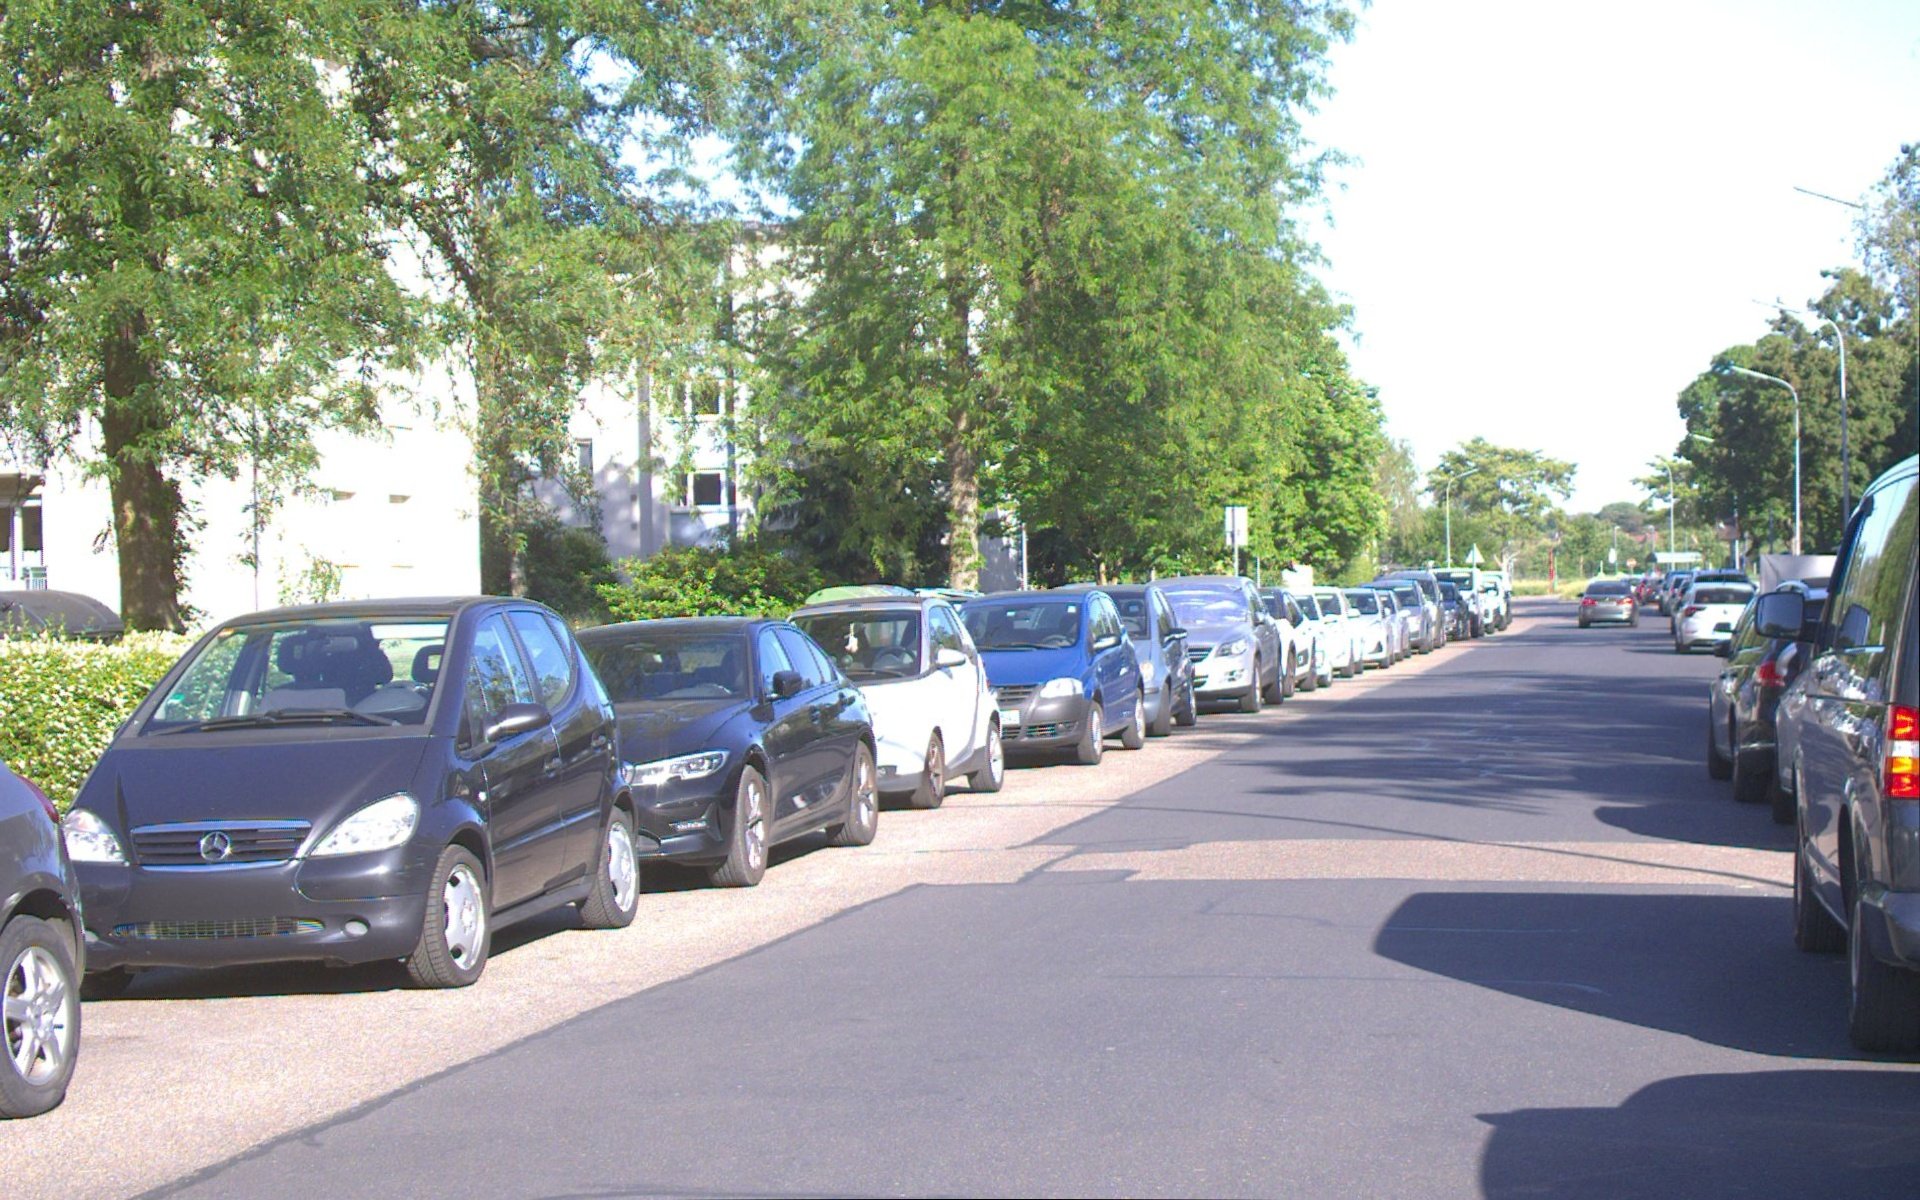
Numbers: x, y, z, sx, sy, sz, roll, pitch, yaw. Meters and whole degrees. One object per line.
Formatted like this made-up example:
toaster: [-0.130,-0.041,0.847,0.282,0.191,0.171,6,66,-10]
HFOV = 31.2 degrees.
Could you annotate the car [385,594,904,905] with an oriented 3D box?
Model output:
car: [-1.655,0.765,19.755,1.755,1.476,4.535,-3,0,10]

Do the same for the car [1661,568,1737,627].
car: [19.514,-0.077,90.926,1.909,1.525,4.326,0,0,11]

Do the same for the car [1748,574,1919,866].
car: [5.410,0.603,19.570,1.623,1.485,4.034,1,1,11]

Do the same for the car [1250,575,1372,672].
car: [5.984,0.373,58.259,1.687,1.530,3.889,-2,0,11]

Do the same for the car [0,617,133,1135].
car: [-3.903,0.858,8.958,1.755,1.476,3.957,-3,0,13]

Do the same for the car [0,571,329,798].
car: [-6.046,0.550,25.110,1.571,1.520,3.998,0,0,9]

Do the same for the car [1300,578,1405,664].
car: [7.321,0.366,63.931,1.687,1.500,3.816,-2,0,10]

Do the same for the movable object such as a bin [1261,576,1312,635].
movable object such as a bin: [8.219,0.133,86.556,1.102,1.416,1.360,2,1,12]

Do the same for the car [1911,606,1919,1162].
car: [2.923,0.742,6.794,1.802,1.414,4.633,0,0,13]

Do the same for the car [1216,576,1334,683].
car: [4.741,0.424,51.856,1.663,1.508,3.537,-2,0,5]

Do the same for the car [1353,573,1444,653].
car: [9.478,0.254,74.154,1.710,1.595,3.984,-3,0,10]

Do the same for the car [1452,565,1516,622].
car: [16.619,-0.217,108.958,1.747,1.726,4.003,-2,0,11]

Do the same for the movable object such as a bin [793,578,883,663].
movable object such as a bin: [-2.102,0.340,59.382,1.178,1.416,1.461,2,1,13]

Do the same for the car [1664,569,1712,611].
car: [30.889,-0.430,145.863,1.796,1.780,3.950,0,0,9]

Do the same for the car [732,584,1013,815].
car: [-0.605,0.709,26.036,1.445,1.569,3.141,-3,0,10]

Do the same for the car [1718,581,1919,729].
car: [8.829,0.523,35.415,1.732,1.399,3.894,1,1,9]

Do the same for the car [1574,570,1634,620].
car: [20.154,-0.161,107.672,1.680,1.508,4.103,1,1,9]

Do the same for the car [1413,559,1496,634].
car: [13.773,-0.118,95.485,1.916,1.956,5.085,-2,0,12]

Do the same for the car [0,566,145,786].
car: [-7.791,0.558,26.360,1.571,1.635,3.998,0,0,9]

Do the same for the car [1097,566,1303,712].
car: [2.976,0.435,41.795,1.904,1.634,4.347,-2,0,11]

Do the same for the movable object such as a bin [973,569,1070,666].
movable object such as a bin: [0.920,0.254,50.902,1.137,1.378,1.441,2,1,13]

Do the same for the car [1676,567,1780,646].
car: [15.410,0.112,69.134,1.754,1.508,4.103,1,1,9]

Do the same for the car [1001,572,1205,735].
car: [1.564,0.527,36.459,1.636,1.601,3.533,-2,0,10]

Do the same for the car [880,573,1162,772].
car: [0.625,0.608,31.206,1.755,1.601,3.966,-3,0,12]

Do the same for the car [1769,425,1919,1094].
car: [3.916,0.447,12.077,1.853,1.928,4.703,1,1,11]

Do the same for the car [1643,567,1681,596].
car: [37.717,-0.995,184.771,1.796,1.543,3.950,0,0,9]

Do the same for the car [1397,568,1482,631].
car: [12.509,-0.024,89.493,1.747,1.528,4.136,-2,0,14]

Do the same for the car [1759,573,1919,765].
car: [7.468,0.538,28.766,1.416,1.518,2.556,1,1,15]

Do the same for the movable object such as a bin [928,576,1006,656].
movable object such as a bin: [0.136,0.283,62.875,1.135,1.416,1.360,2,1,13]

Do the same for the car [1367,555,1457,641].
car: [10.598,-0.066,80.394,1.855,1.886,4.416,-2,0,10]

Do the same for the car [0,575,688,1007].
car: [-2.533,0.725,14.923,1.755,1.569,3.719,-3,0,10]

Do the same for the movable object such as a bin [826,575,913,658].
movable object such as a bin: [-1.606,0.288,61.096,1.178,1.416,1.461,2,1,13]

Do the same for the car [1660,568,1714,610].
car: [27.548,-0.421,130.290,1.796,1.556,3.950,0,0,9]

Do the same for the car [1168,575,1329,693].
car: [4.022,0.436,47.389,1.663,1.508,3.943,-2,0,12]

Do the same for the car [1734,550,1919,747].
car: [7.897,0.413,31.473,1.489,1.712,2.582,1,1,11]

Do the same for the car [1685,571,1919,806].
car: [6.217,0.561,24.606,1.732,1.485,4.499,-2,0,9]

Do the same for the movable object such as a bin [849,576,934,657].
movable object such as a bin: [-1.243,0.284,62.572,1.178,1.416,1.461,2,1,13]

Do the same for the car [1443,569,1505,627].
car: [15.460,-0.075,103.479,1.747,1.664,4.376,-2,0,9]
